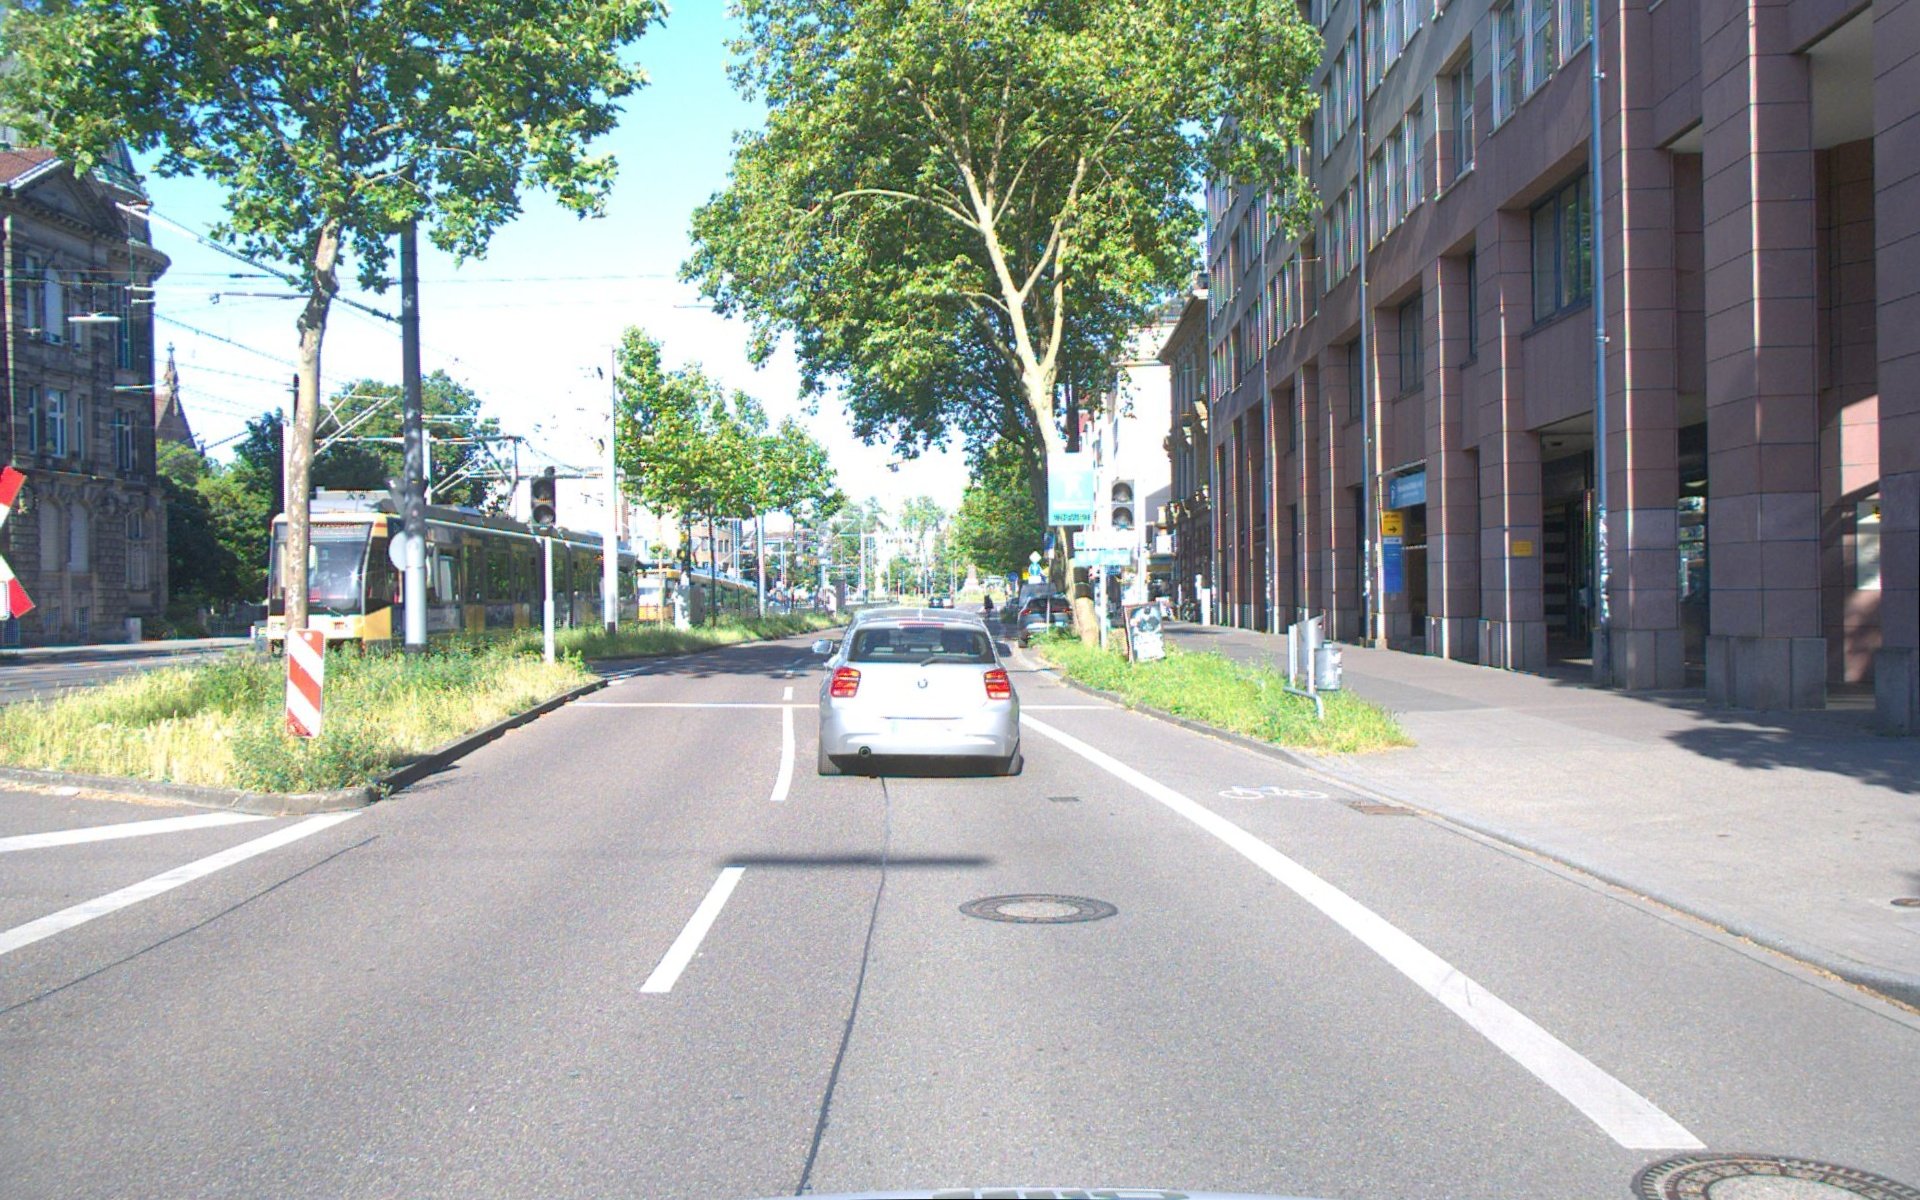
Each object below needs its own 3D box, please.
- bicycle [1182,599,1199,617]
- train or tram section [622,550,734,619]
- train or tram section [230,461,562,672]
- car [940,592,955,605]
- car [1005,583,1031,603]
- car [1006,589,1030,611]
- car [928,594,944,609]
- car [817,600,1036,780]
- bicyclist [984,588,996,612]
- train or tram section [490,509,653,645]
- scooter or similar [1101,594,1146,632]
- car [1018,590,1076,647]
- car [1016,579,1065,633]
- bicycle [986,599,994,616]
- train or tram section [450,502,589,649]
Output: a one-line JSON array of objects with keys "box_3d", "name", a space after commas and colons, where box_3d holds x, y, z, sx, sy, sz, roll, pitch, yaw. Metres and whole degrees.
[{"box_3d": [10.354, 0.366, 74.425, 0.537, 0.787, 1.663, -3, 0, 1], "name": "bicycle"}, {"box_3d": [-15.882, -0.883, 95.175, 2.903, 3.544, 21.216, 0, 0, 0], "name": "train or tram section"}, {"box_3d": [-12.168, -0.630, 37.784, 2.869, 3.878, 14.270, 1, 0, -1], "name": "train or tram section"}, {"box_3d": [-1.442, -0.137, 188.638, 1.610, 1.446, 4.001, 0, 0, 1], "name": "car"}, {"box_3d": [4.592, -0.581, 132.244, 1.996, 1.535, 4.594, -1, 0, 1], "name": "car"}, {"box_3d": [4.342, 0.000, 124.655, 1.660, 1.528, 3.802, -3, 1, 1], "name": "car"}, {"box_3d": [-2.637, 0.157, 180.563, 1.691, 1.496, 4.409, -1, 0, -1], "name": "car"}, {"box_3d": [-0.317, 0.732, 15.470, 1.761, 1.439, 3.999, 1, 0, -1], "name": "car"}, {"box_3d": [1.940, 0.022, 107.696, 0.769, 1.558, 0.895, 1, 0, 1], "name": "bicyclist"}, {"box_3d": [-12.465, -0.685, 54.190, 2.892, 3.965, 10.800, 1, 0, -1], "name": "train or tram section"}, {"box_3d": [5.682, 0.446, 57.451, 1.508, 1.259, 0.449, -1, 0, 2], "name": "scooter or similar"}, {"box_3d": [2.579, 0.523, 49.253, 1.633, 1.598, 4.281, 1, 0, 3], "name": "car"}, {"box_3d": [3.174, 0.228, 65.943, 1.818, 2.049, 4.724, 1, 0, 1], "name": "car"}, {"box_3d": [1.956, 0.488, 107.599, 0.489, 1.107, 1.997, 1, 0, 1], "name": "bicycle"}, {"box_3d": [-12.388, -0.672, 46.849, 2.895, 3.965, 3.865, 1, 0, -1], "name": "train or tram section"}]
